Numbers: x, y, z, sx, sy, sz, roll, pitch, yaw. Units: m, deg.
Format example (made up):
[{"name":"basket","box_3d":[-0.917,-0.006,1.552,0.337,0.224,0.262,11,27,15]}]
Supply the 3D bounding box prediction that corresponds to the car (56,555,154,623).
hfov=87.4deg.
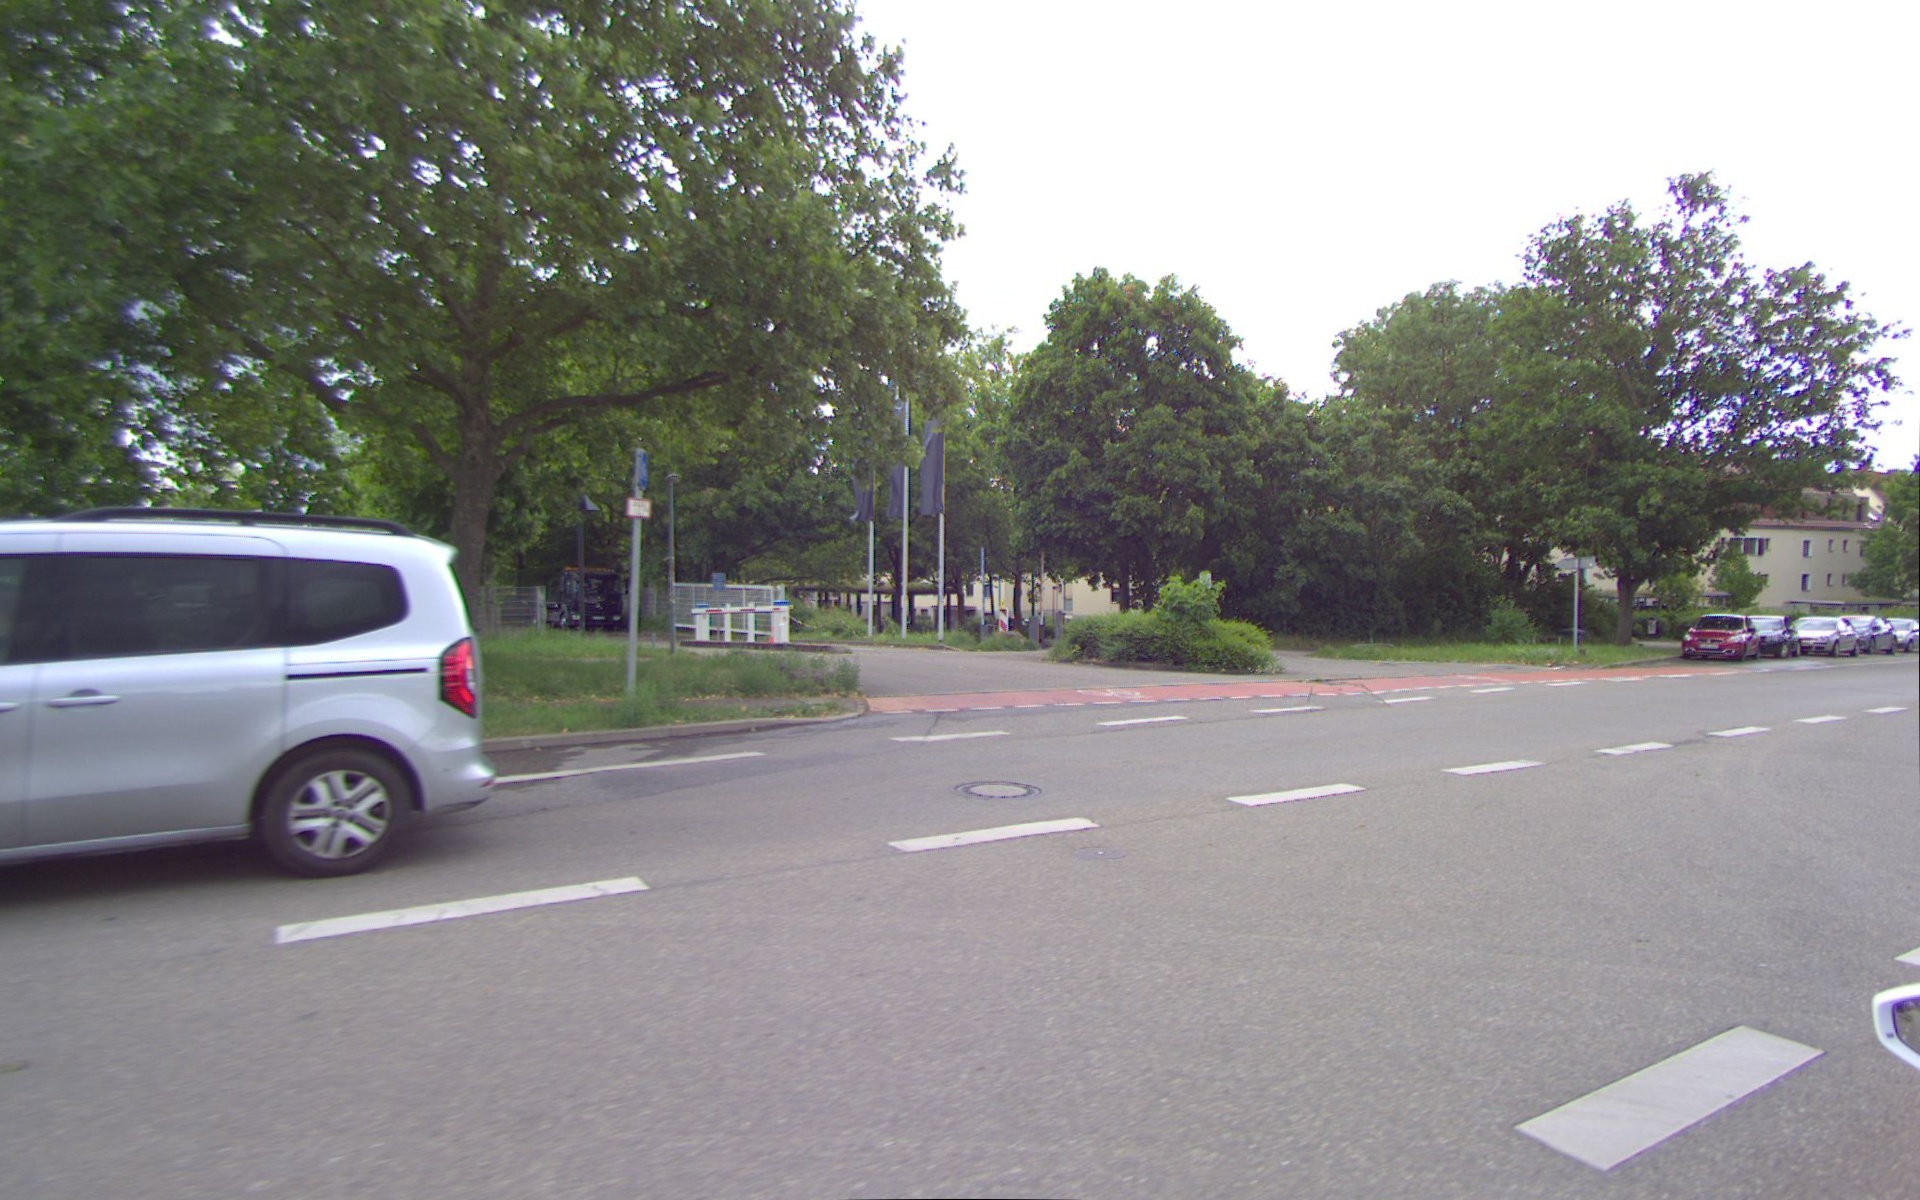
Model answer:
[{"name":"car","box_3d":[-33.467,-0.441,39.475,2.379,2.488,4.935,1,1,-34]}]

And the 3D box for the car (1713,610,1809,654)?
[{"name":"car","box_3d":[28.823,1.124,36.114,3.961,1.421,1.661,1,1,-36]}]

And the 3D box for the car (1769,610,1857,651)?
[{"name":"car","box_3d":[32.949,1.144,38.754,3.961,1.421,1.661,1,1,-36]}]

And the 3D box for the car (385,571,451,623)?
[{"name":"car","box_3d":[-24.504,-0.167,45.299,1.981,2.220,4.931,0,1,-36]}]

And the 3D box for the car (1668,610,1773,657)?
[{"name":"car","box_3d":[25.315,1.070,33.399,3.961,1.421,1.661,1,1,-36]}]

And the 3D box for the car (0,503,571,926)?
[{"name":"car","box_3d":[-4.604,0.507,5.155,4.602,1.827,1.835,1,-1,-34]}]

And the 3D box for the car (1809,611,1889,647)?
[{"name":"car","box_3d":[37.440,1.193,42.274,3.961,1.421,1.661,1,1,-36]}]

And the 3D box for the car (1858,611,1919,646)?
[{"name":"car","box_3d":[41.895,1.254,45.004,3.961,1.421,1.661,1,1,-36]}]

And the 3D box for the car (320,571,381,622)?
[{"name":"car","box_3d":[-26.044,-0.168,42.849,1.980,2.040,4.935,1,1,-34]}]

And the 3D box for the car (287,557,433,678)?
[{"name":"car","box_3d":[-14.528,0.330,24.110,2.631,2.508,6.004,1,1,-35]}]

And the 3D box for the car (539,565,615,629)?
[{"name":"car","box_3d":[-17.269,-0.138,45.103,1.981,2.698,4.931,0,1,-36]}]
